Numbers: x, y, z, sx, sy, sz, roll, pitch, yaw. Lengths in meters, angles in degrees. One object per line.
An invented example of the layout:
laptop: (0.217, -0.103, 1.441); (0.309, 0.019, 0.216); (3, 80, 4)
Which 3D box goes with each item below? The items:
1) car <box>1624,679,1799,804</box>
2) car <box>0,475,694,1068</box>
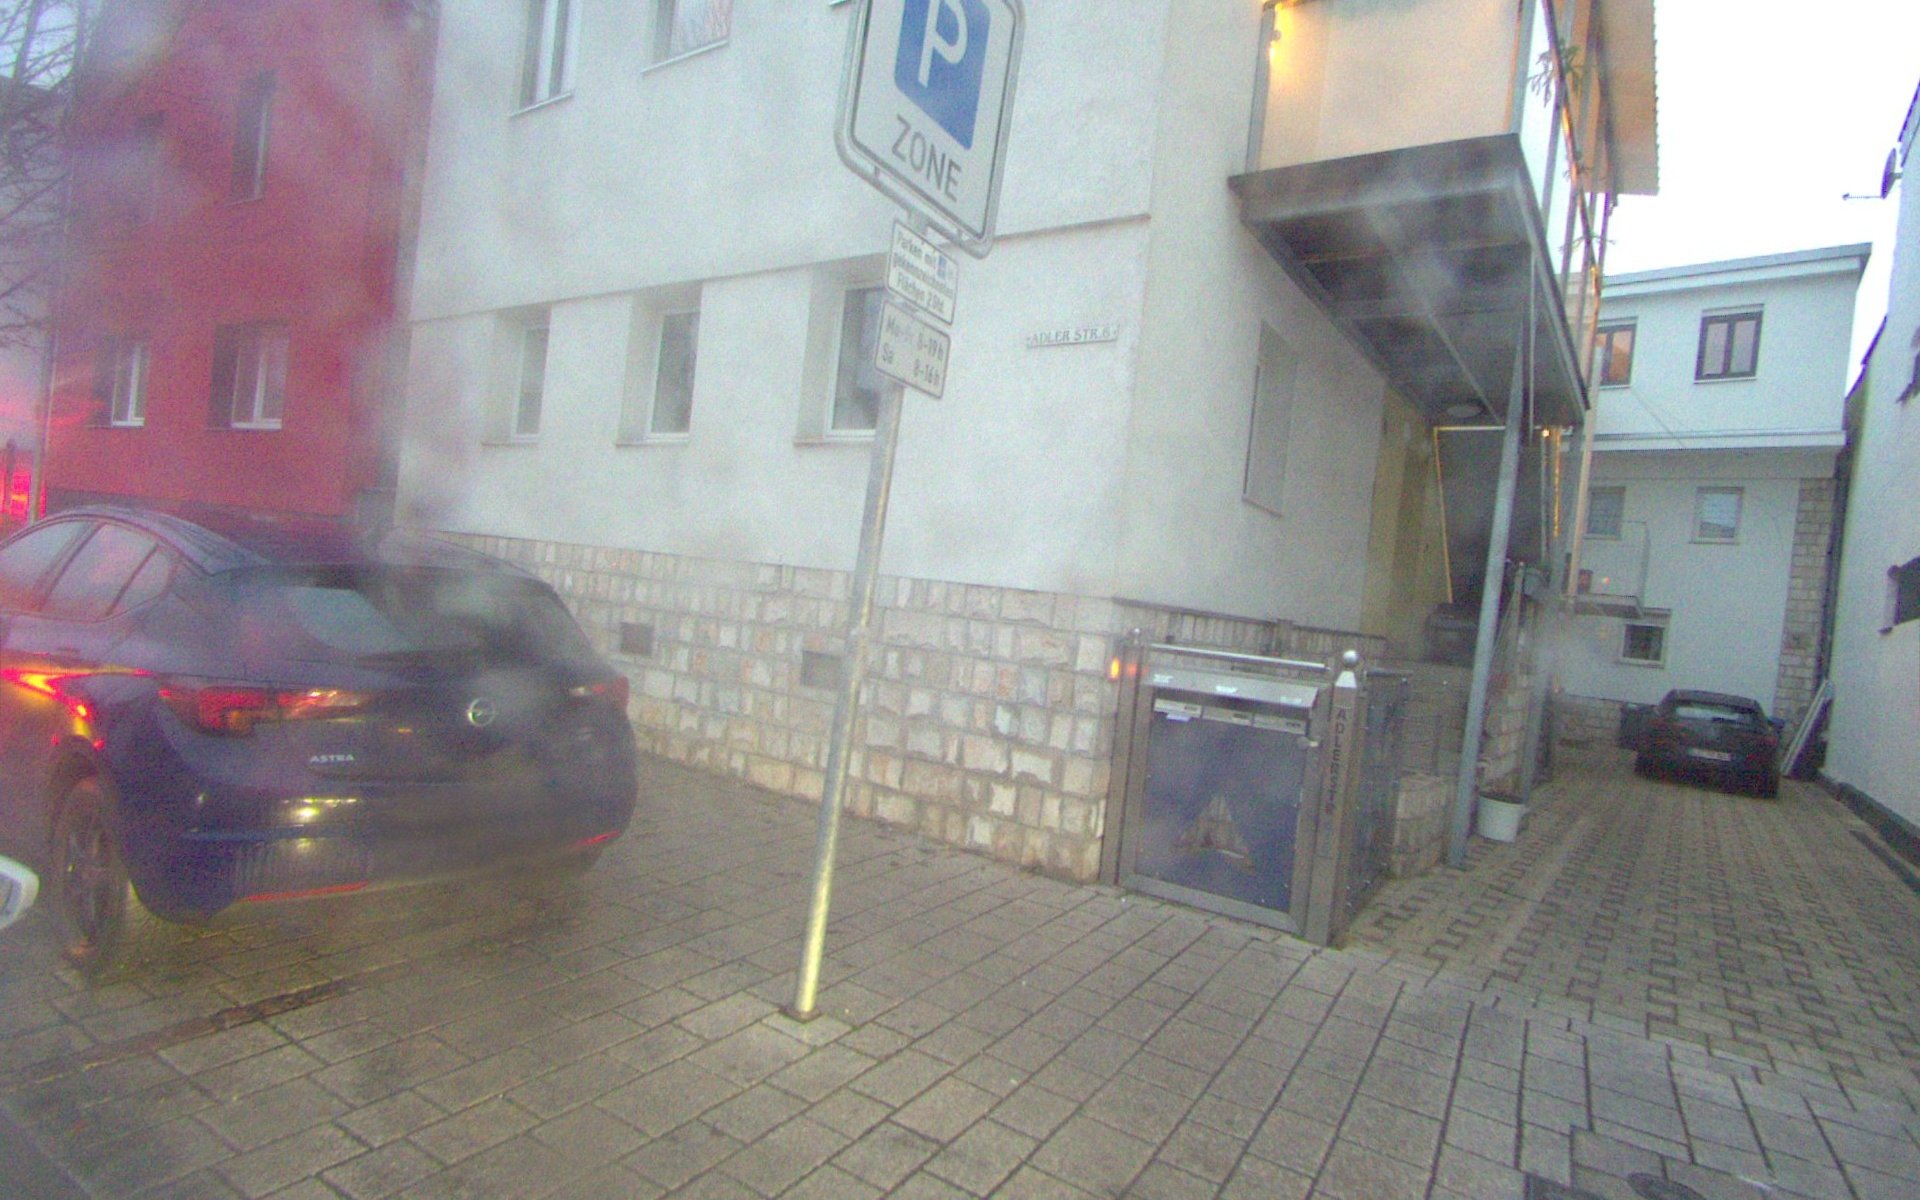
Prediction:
car: (12.234, 2.205, 16.616); (1.906, 1.434, 3.949); (9, 2, 34)
car: (-3.304, 0.302, 4.488); (4.131, 1.484, 1.727); (7, 3, 34)
